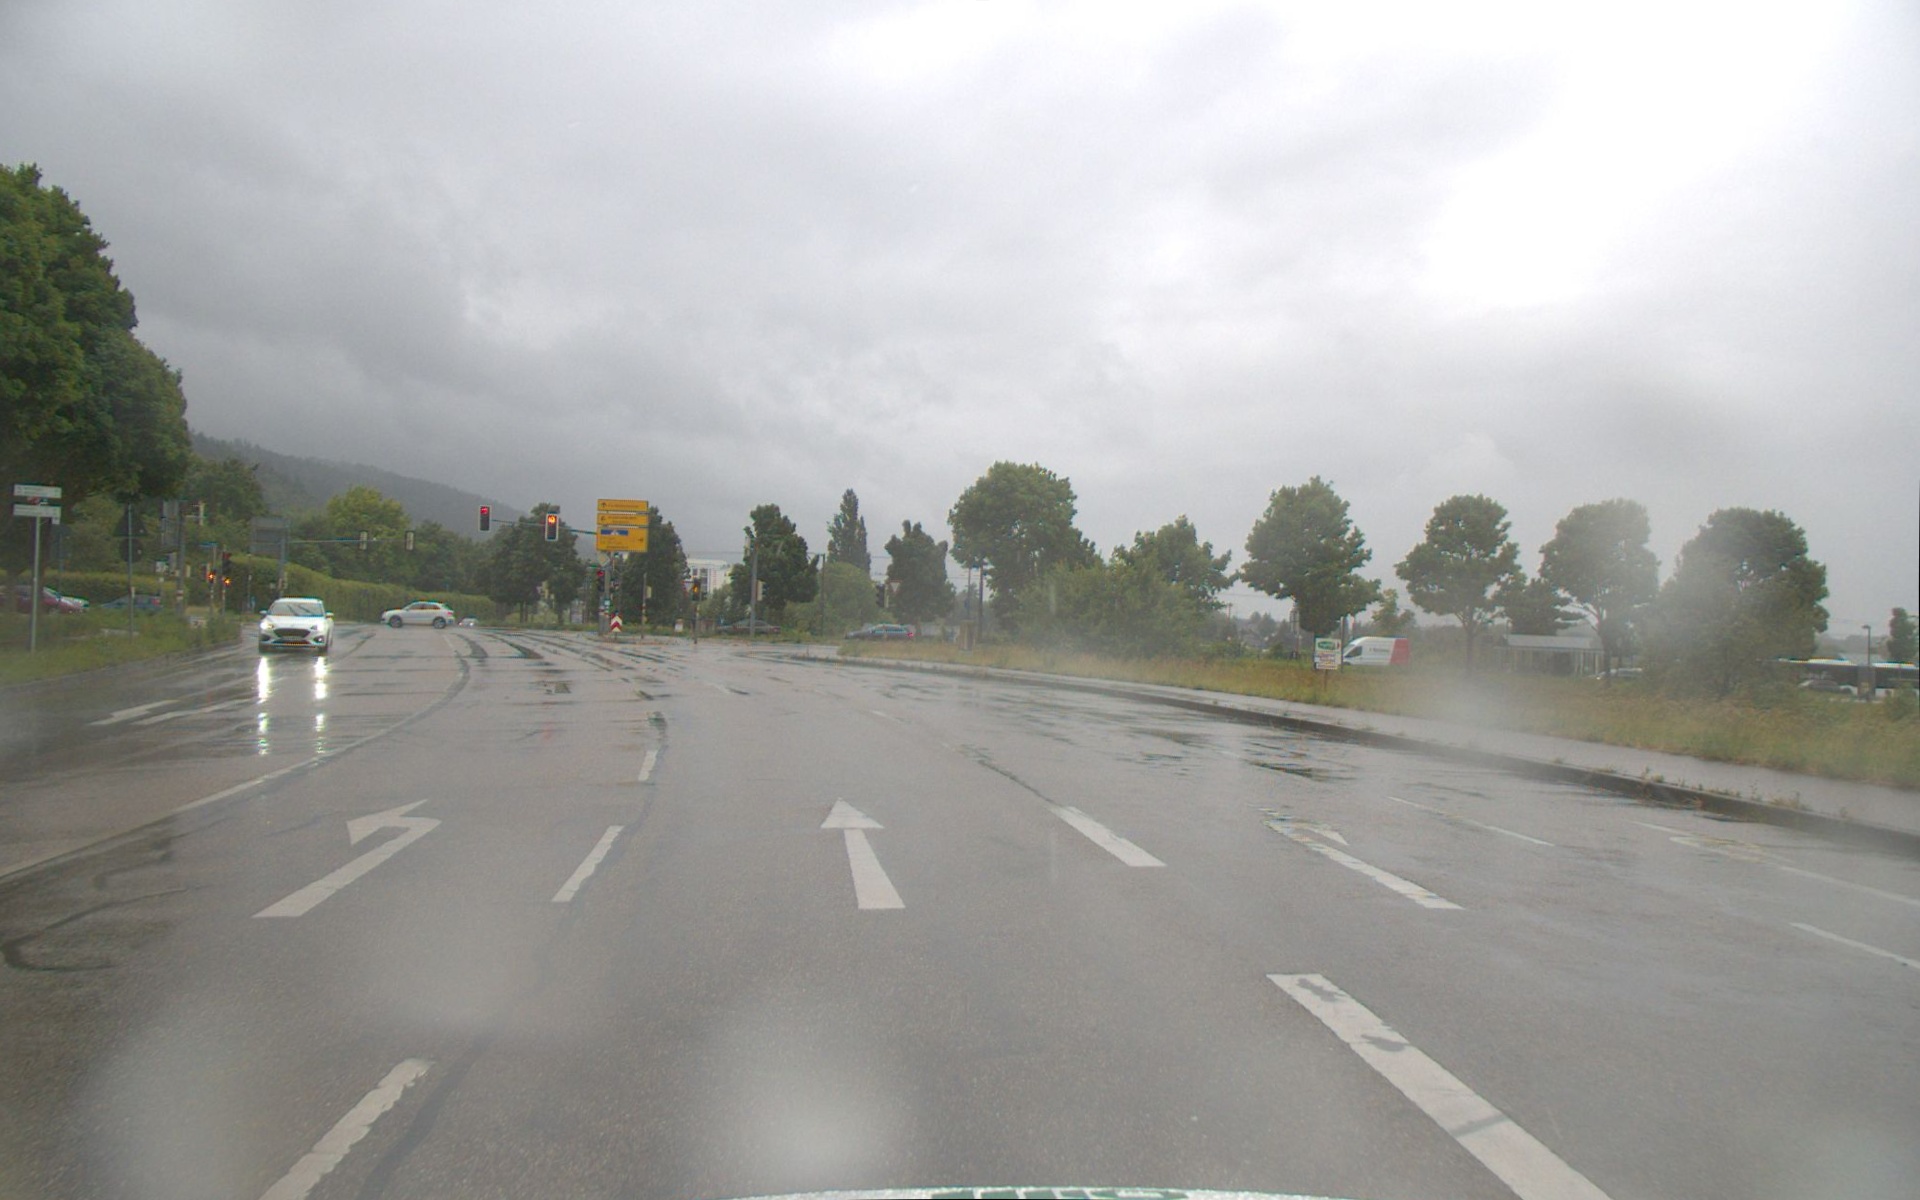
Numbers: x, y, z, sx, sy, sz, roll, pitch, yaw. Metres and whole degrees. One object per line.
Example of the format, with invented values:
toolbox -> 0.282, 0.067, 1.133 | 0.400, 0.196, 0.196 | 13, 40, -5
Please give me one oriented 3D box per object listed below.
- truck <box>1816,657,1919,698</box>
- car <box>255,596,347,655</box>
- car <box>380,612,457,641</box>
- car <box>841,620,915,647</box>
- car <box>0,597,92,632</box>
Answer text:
truck -> 71.872, 6.080, 129.411 | 9.159, 2.821, 2.647 | 3, -1, -13
car -> -18.797, 0.724, 47.333 | 1.847, 1.601, 4.627 | 0, -1, -14
car -> -33.424, 1.616, 102.223 | 4.302, 1.607, 1.726 | 3, -1, -15
car -> -5.380, 2.190, 108.584 | 4.592, 1.668, 1.815 | 2, -1, -16
car -> -46.410, 0.738, 83.333 | 4.298, 1.607, 1.727 | 3, -1, -12
